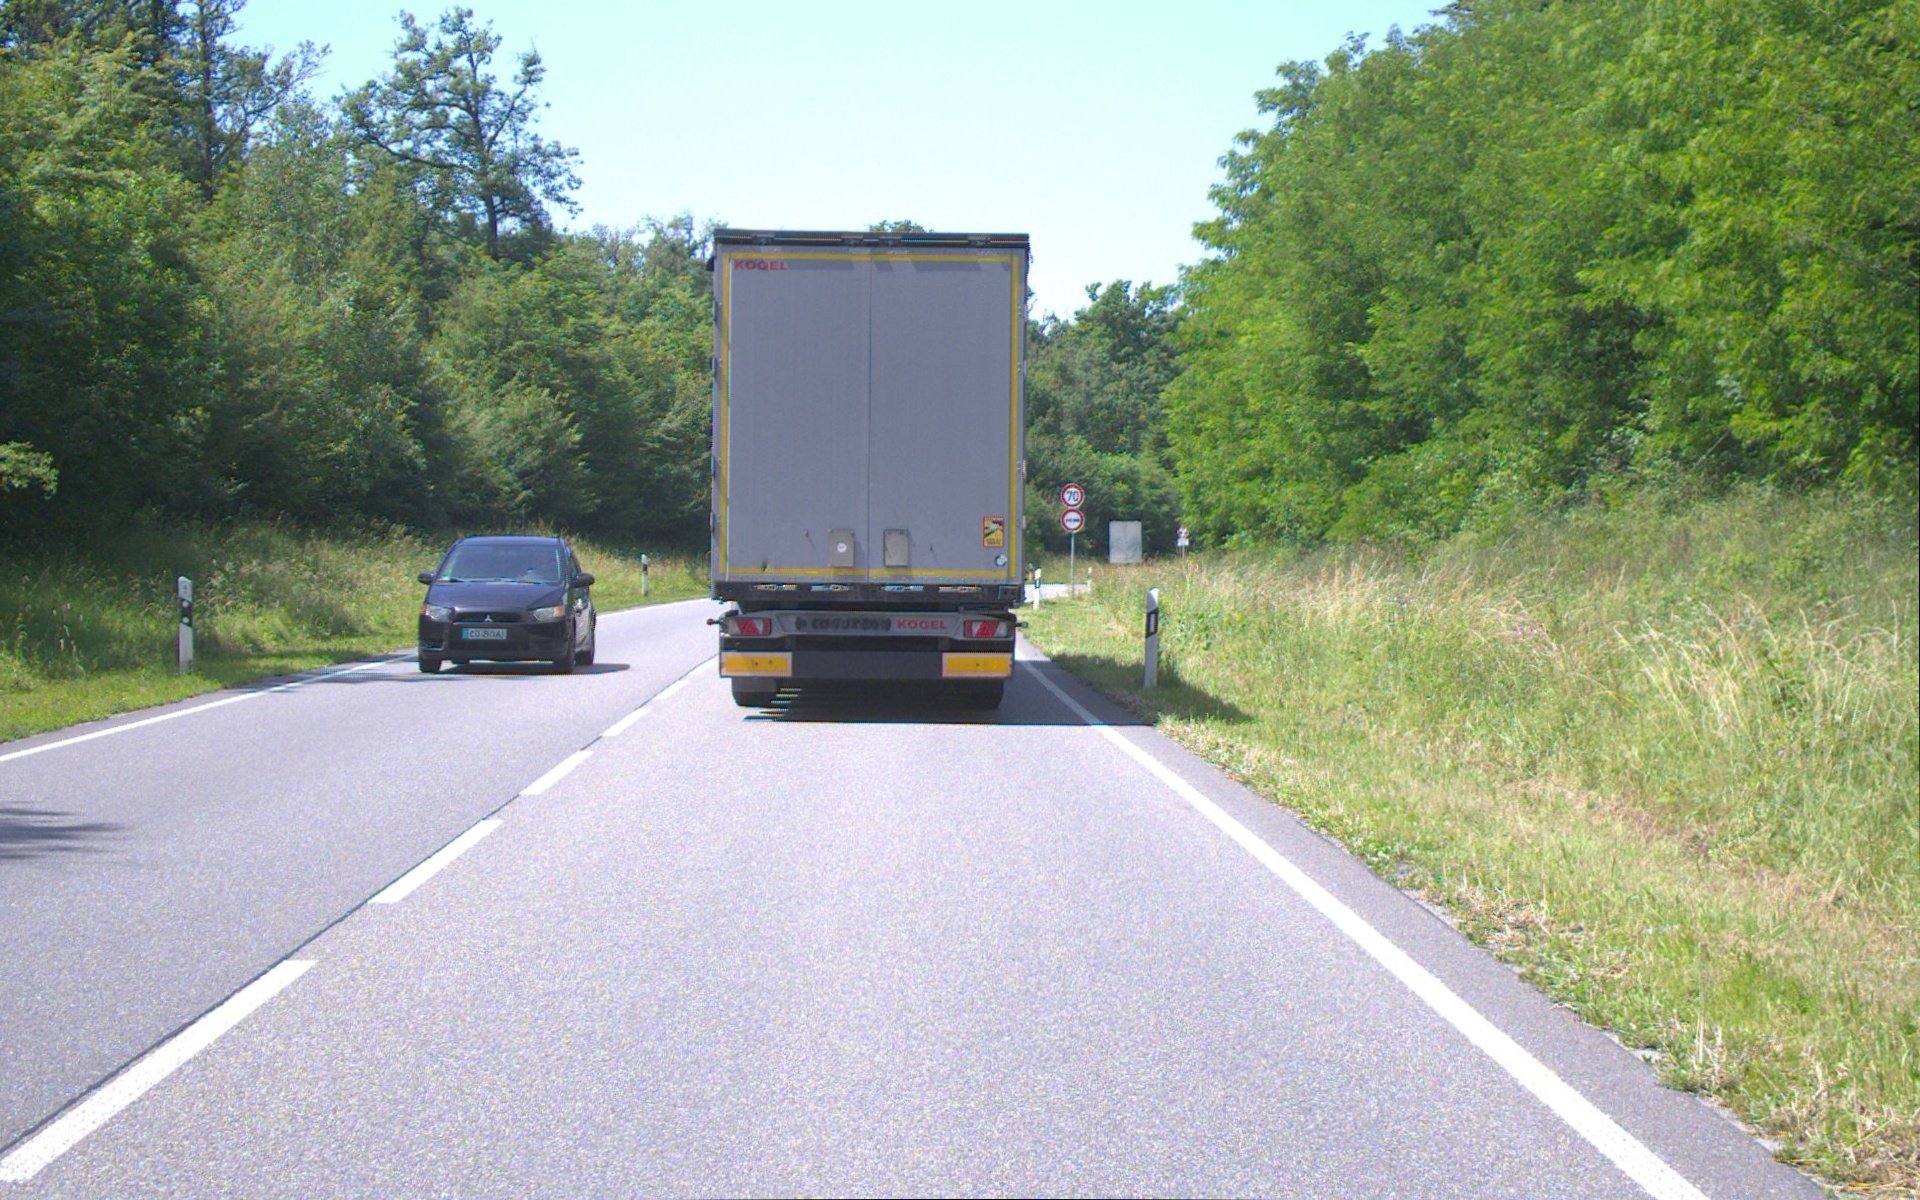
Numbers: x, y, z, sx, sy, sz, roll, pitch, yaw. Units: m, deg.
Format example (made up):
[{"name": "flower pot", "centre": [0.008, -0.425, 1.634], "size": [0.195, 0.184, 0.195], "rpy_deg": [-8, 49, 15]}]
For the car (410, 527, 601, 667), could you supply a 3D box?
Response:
[{"name": "car", "centre": [-5.091, -0.073, 38.891], "size": [1.660, 1.490, 3.805], "rpy_deg": [0, 1, 0]}]

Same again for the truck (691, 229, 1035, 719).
[{"name": "truck", "centre": [-0.915, -1.133, 33.733], "size": [2.761, 3.933, 12.199], "rpy_deg": [0, 1, -1]}]

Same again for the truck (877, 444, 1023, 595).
[{"name": "truck", "centre": [-0.156, -2.485, 108.064], "size": [3.793, 4.358, 14.919], "rpy_deg": [1, 1, 3]}]
